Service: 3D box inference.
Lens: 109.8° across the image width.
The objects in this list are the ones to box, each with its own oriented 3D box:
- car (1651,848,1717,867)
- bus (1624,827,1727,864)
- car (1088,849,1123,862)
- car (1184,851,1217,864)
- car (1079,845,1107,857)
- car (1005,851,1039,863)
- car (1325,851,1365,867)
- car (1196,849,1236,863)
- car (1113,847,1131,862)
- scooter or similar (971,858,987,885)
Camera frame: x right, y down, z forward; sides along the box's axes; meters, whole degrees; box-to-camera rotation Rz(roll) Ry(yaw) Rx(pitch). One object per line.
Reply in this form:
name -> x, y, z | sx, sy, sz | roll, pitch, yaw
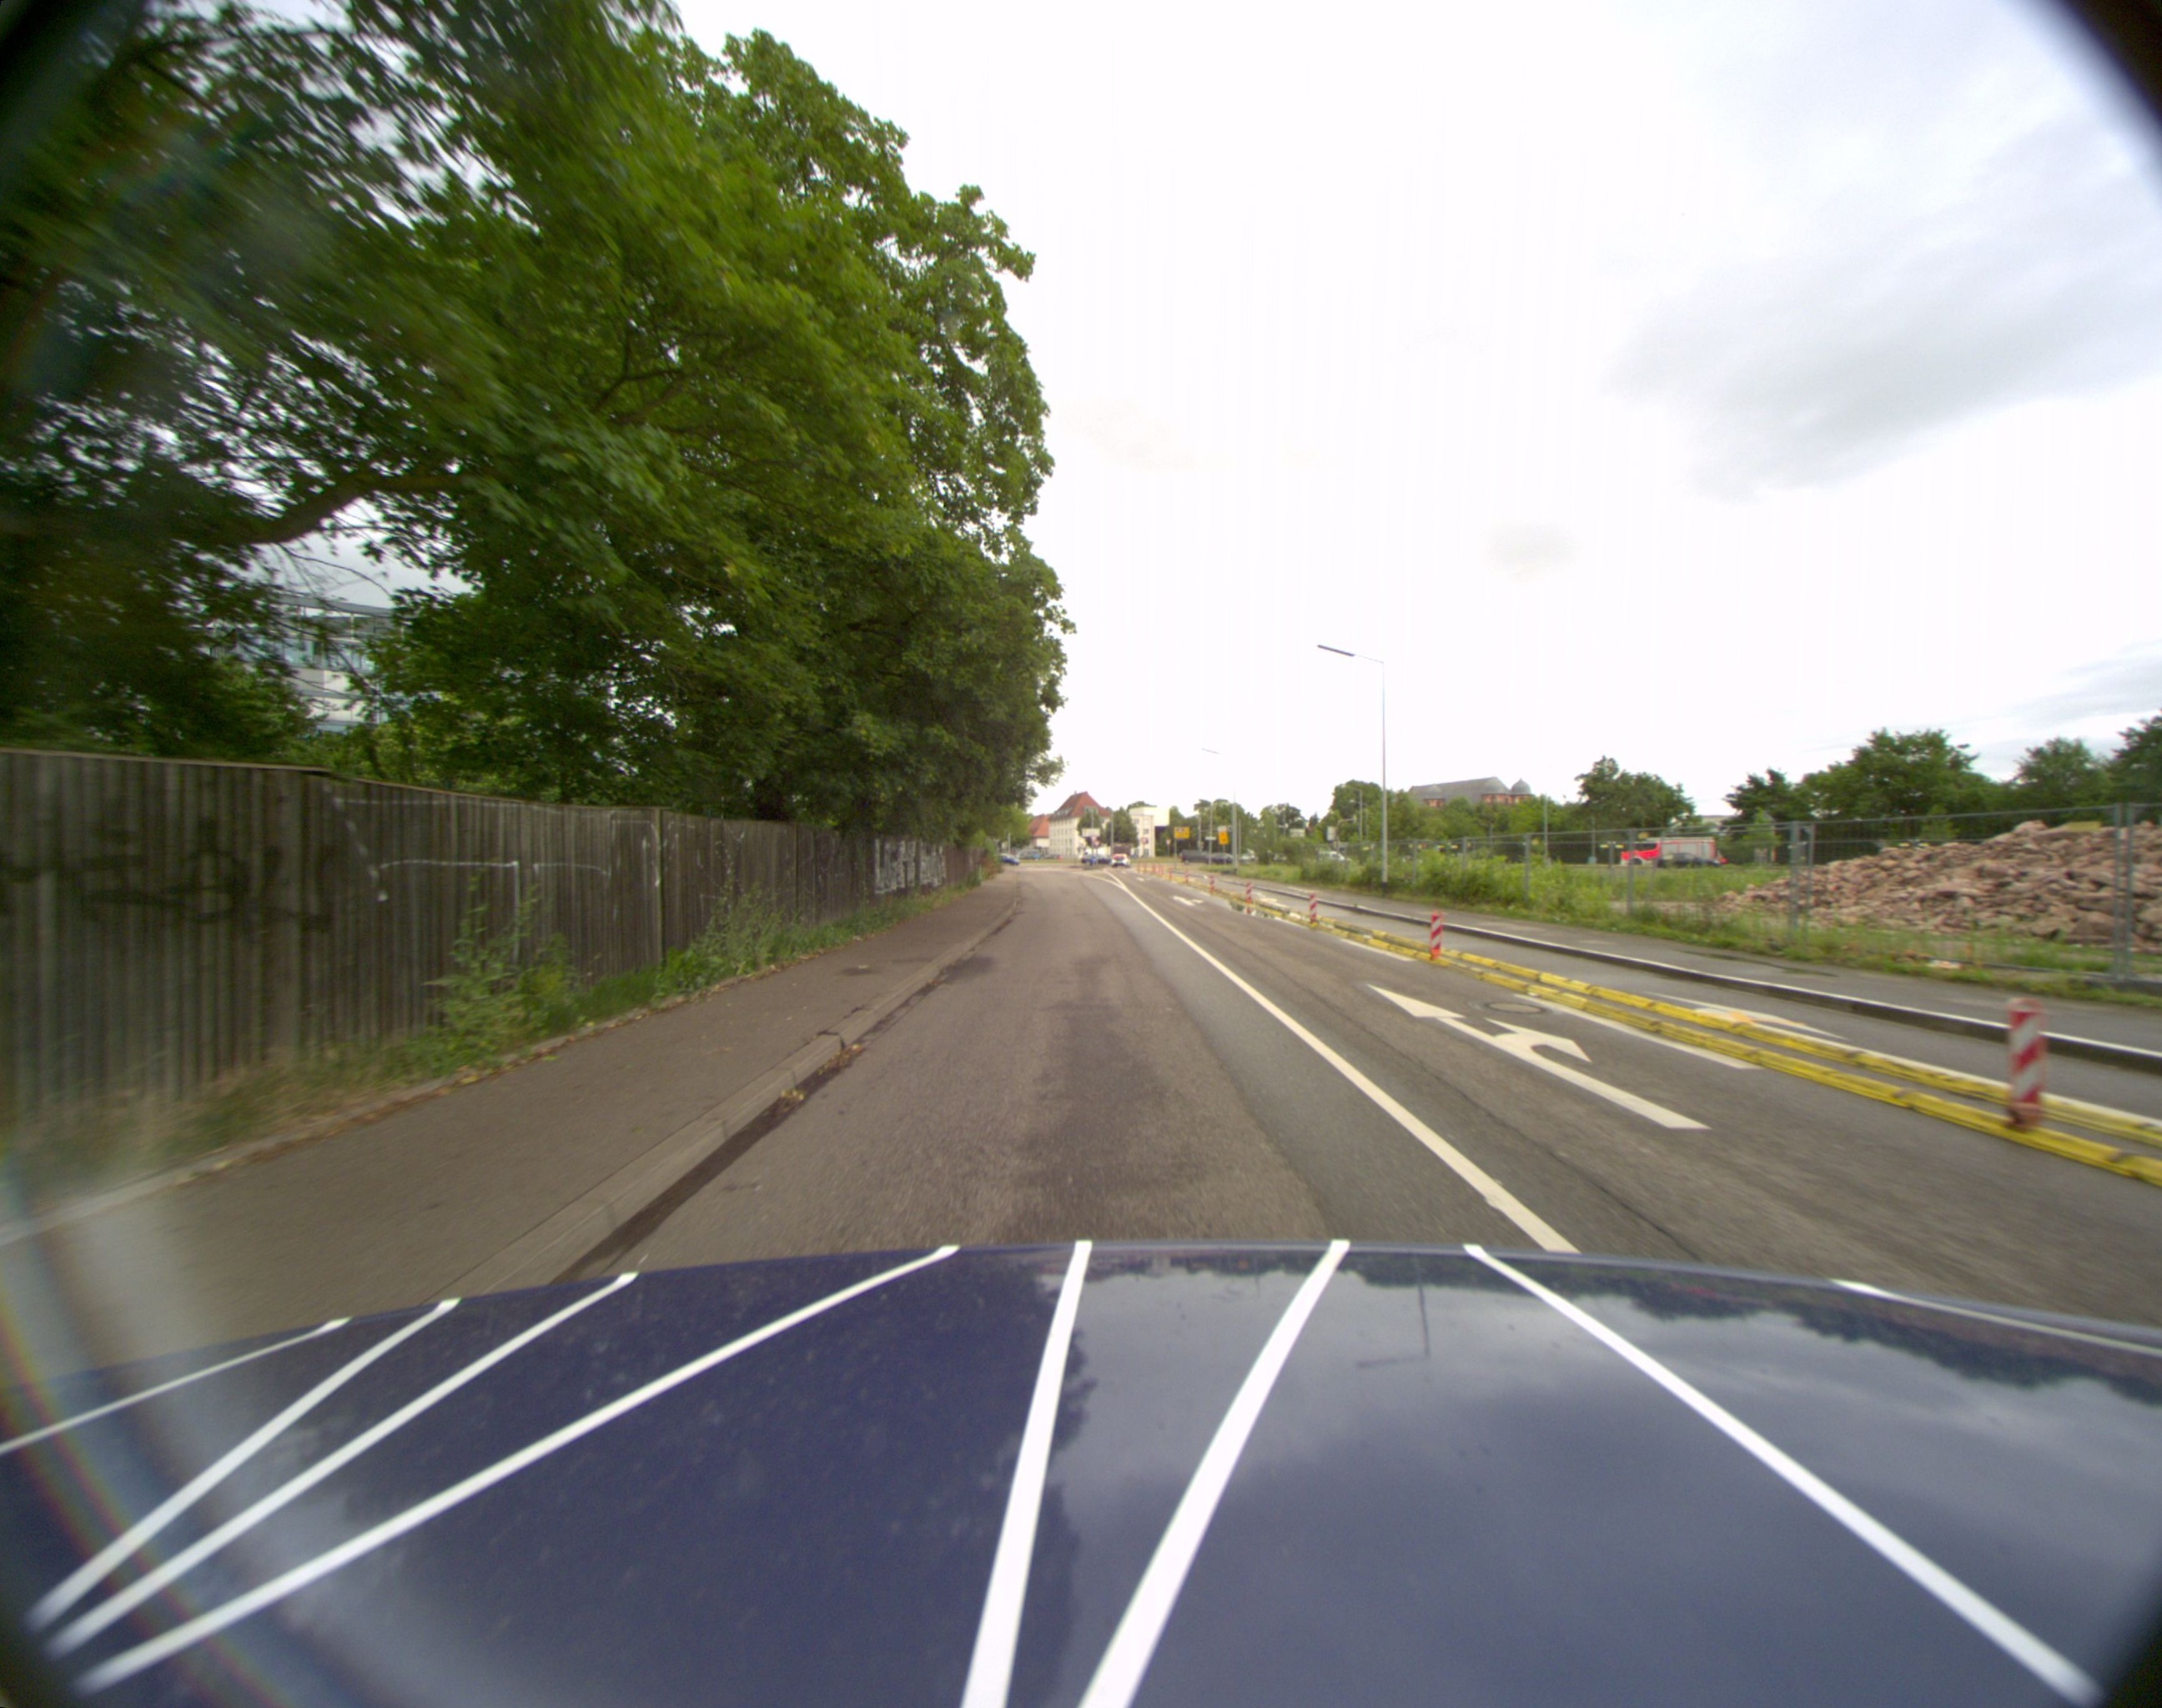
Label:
car -> 55.284, 0.320, 69.756 | 4.738, 1.658, 1.925 | 0, 1, 38
bus -> 62.074, -0.804, 79.462 | 8.374, 3.627, 2.740 | 0, 0, 41
car -> 3.133, 0.250, 97.270 | 4.353, 1.608, 2.001 | 0, 0, 8
car -> 15.590, 0.456, 98.924 | 4.005, 1.705, 1.932 | -1, 1, 17
car -> 2.526, -0.690, 158.692 | 5.606, 2.527, 2.240 | -1, 1, -2
car -> -7.814, 0.393, 100.666 | 3.993, 1.609, 1.861 | -1, 1, 13
car -> 32.471, 0.567, 93.447 | 4.475, 1.893, 1.924 | 0, 1, 21
car -> 16.111, 0.254, 90.821 | 4.472, 1.557, 1.921 | -1, 1, 1
car -> 4.534, -0.006, 85.458 | 1.755, 1.578, 3.900 | 2, 1, 0
scooter or similar -> -5.055, 0.846, 37.763 | 0.693, 1.304, 2.352 | 0, 0, -5
